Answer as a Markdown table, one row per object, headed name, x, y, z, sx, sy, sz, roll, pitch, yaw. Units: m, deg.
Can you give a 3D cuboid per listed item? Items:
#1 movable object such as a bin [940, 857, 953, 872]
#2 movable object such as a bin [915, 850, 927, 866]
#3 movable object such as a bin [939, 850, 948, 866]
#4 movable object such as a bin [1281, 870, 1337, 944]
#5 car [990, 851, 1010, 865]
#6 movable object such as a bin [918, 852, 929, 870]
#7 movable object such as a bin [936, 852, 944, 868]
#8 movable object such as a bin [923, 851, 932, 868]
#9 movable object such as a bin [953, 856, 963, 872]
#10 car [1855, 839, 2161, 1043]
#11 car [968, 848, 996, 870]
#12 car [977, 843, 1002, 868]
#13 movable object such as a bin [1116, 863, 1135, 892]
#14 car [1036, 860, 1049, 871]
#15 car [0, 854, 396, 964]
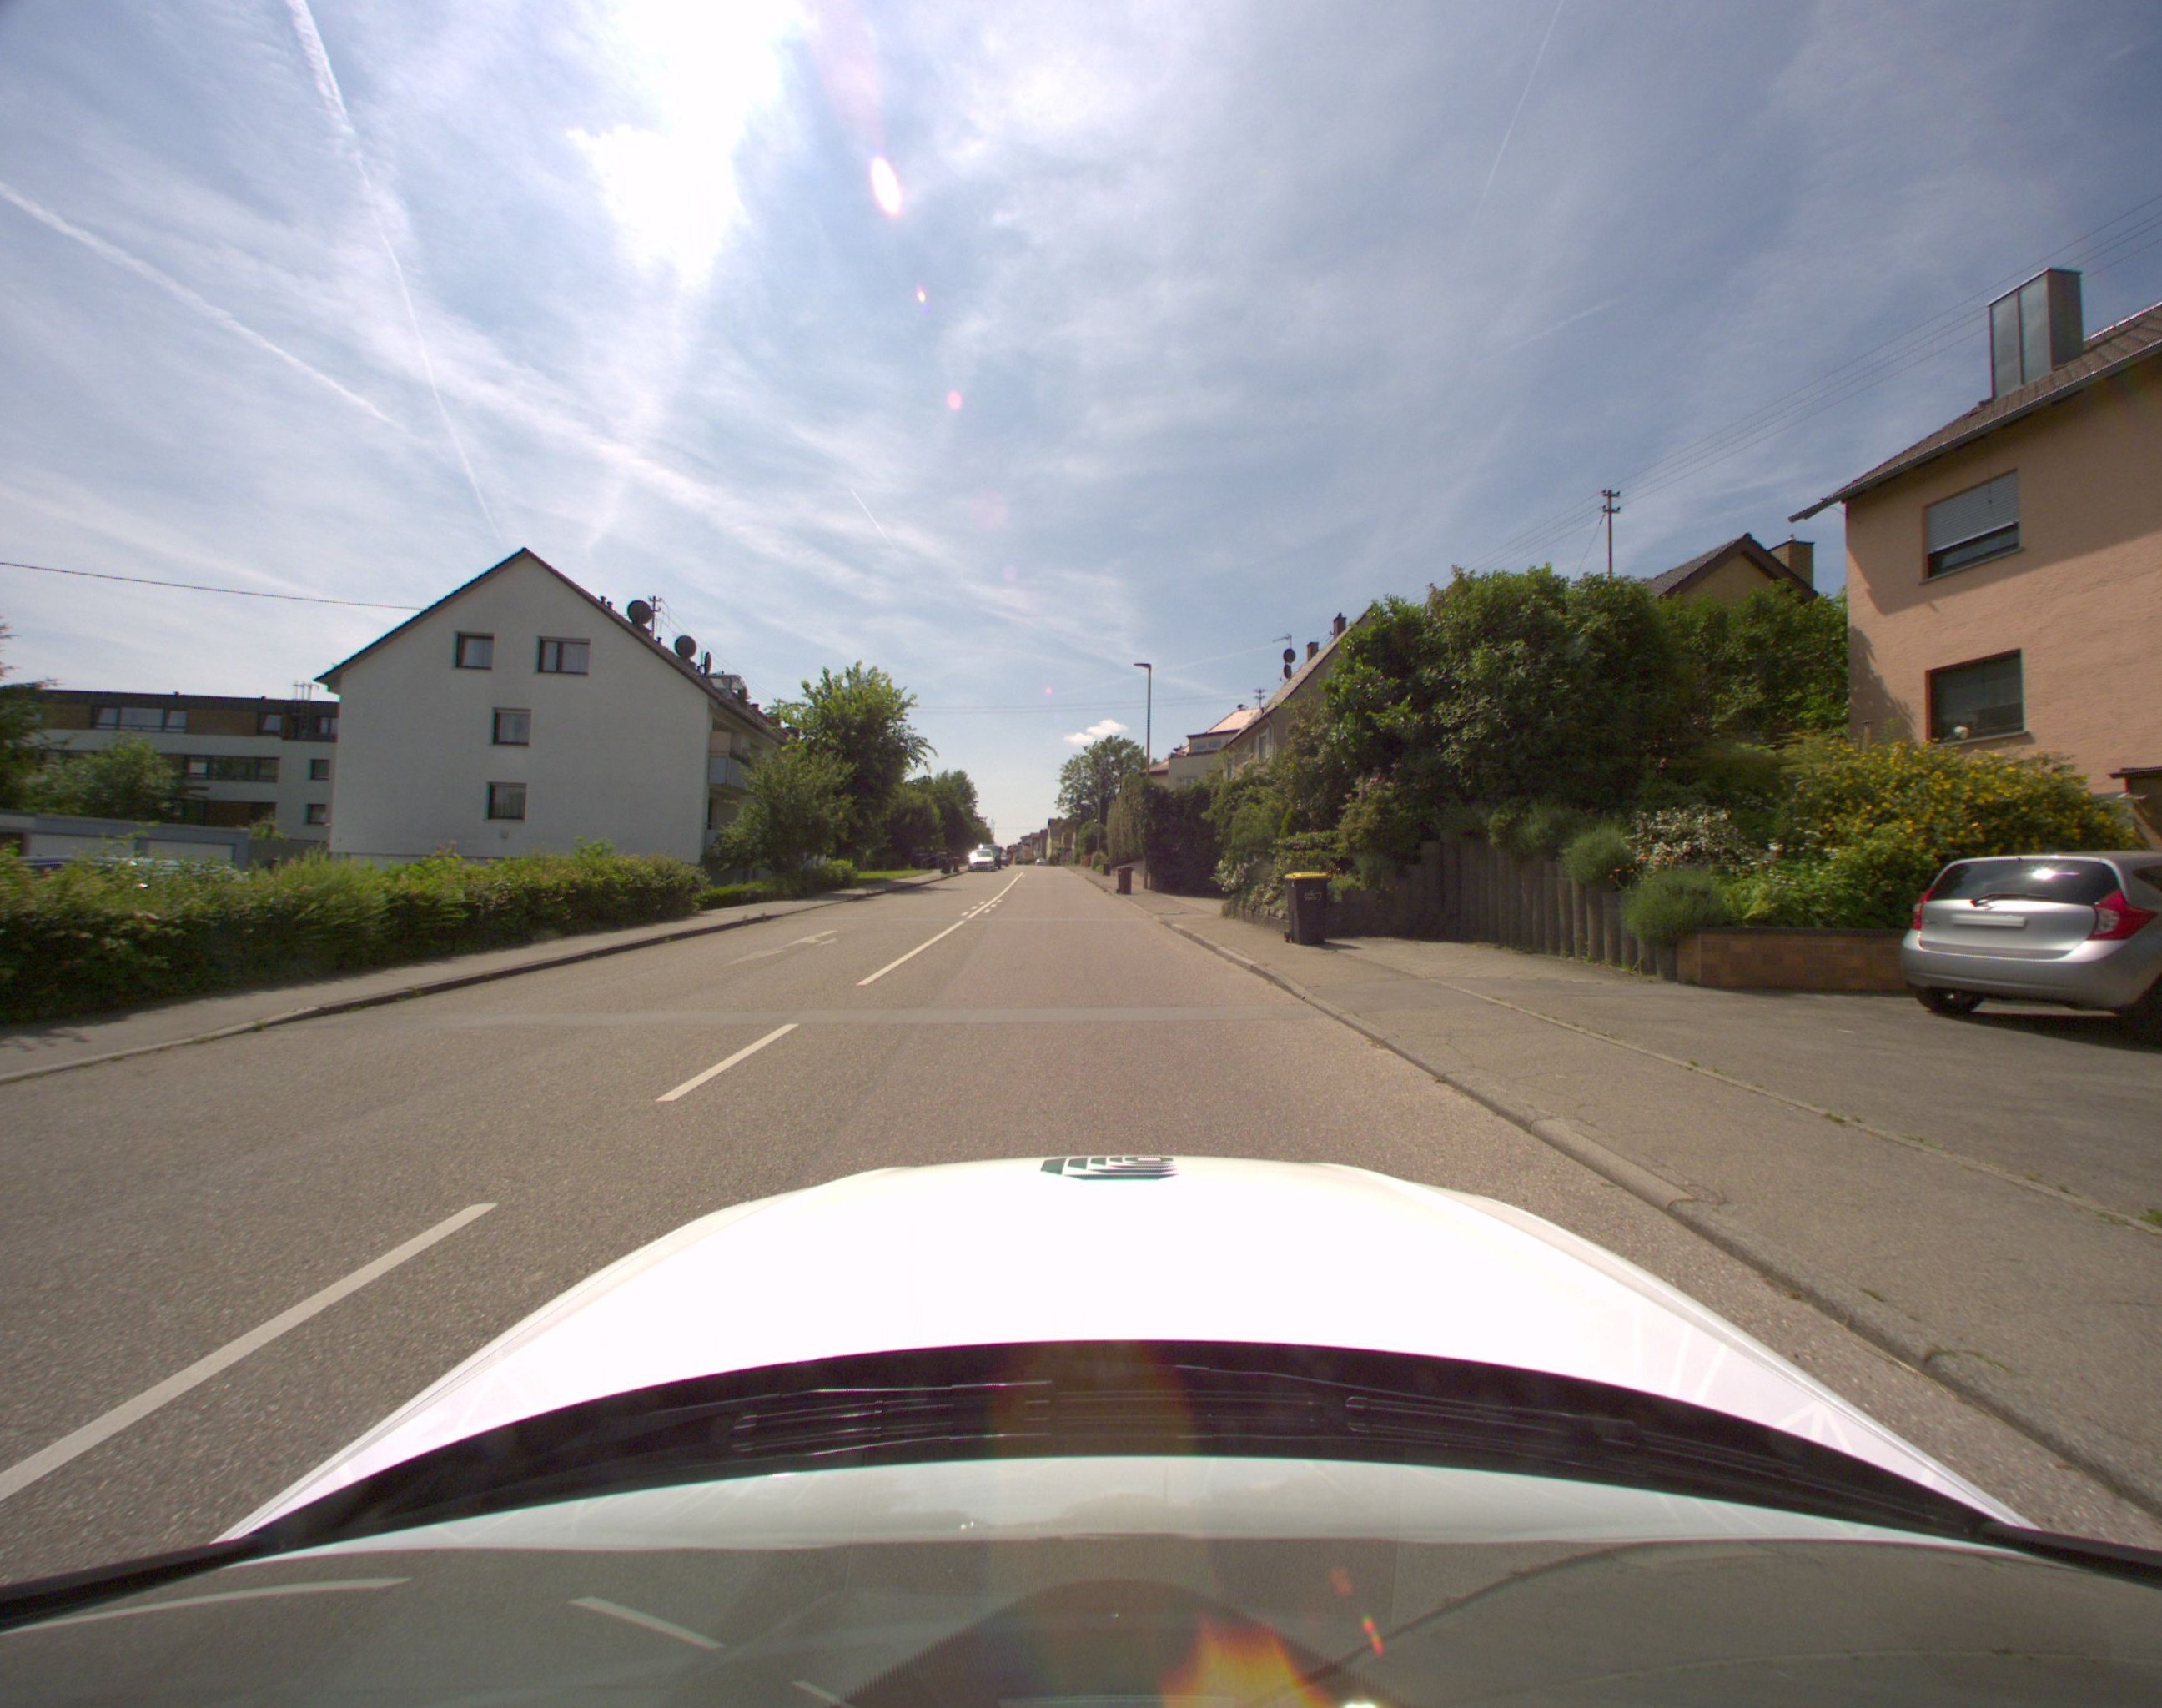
| name | x | y | z | sx | sy | sz | roll | pitch | yaw |
| --- | --- | --- | --- | --- | --- | --- | --- | --- | --- |
| movable object such as a bin | -7.946 | 0.618 | 48.078 | 0.616 | 0.917 | 0.686 | 0 | 0 | 3 |
| movable object such as a bin | -10.778 | 0.283 | 54.889 | 0.600 | 1.096 | 0.650 | 0 | 0 | 3 |
| movable object such as a bin | -9.717 | 0.278 | 57.631 | 0.494 | 1.105 | 0.711 | -1 | -1 | 3 |
| movable object such as a bin | 3.451 | 0.788 | 12.382 | 0.586 | 1.059 | 0.919 | 0 | 0 | -1 |
| car | -8.187 | 0.377 | 82.950 | 1.776 | 1.394 | 4.404 | 0 | -1 | -3 |
| movable object such as a bin | -10.764 | 0.481 | 55.617 | 0.544 | 1.178 | 0.674 | 0 | 0 | 2 |
| movable object such as a bin | -9.749 | 0.441 | 56.229 | 0.515 | 1.104 | 0.529 | 0 | 0 | -4 |
| movable object such as a bin | -10.639 | 0.366 | 56.465 | 0.474 | 1.178 | 0.840 | 0 | 0 | 2 |
| movable object such as a bin | -7.706 | 0.616 | 50.849 | 0.504 | 0.988 | 0.564 | 0 | 0 | 3 |
| car | 9.339 | 0.690 | 7.109 | 3.637 | 1.499 | 1.833 | 2 | 0 | -6 |
| car | -7.103 | 0.335 | 58.570 | 1.808 | 1.549 | 4.235 | 1 | 0 | -5 |
| car | -7.355 | 0.114 | 65.976 | 1.894 | 1.920 | 4.861 | -1 | 0 | -5 |
| movable object such as a bin | 1.574 | 0.828 | 29.076 | 0.587 | 0.977 | 0.785 | -1 | 0 | -3 |
| car | -6.371 | 1.877 | 134.248 | 1.990 | 1.603 | 3.994 | -1 | 0 | -4 |
| car | -12.547 | 0.712 | 11.453 | 3.981 | 1.387 | 1.996 | 0 | 0 | -6 |
